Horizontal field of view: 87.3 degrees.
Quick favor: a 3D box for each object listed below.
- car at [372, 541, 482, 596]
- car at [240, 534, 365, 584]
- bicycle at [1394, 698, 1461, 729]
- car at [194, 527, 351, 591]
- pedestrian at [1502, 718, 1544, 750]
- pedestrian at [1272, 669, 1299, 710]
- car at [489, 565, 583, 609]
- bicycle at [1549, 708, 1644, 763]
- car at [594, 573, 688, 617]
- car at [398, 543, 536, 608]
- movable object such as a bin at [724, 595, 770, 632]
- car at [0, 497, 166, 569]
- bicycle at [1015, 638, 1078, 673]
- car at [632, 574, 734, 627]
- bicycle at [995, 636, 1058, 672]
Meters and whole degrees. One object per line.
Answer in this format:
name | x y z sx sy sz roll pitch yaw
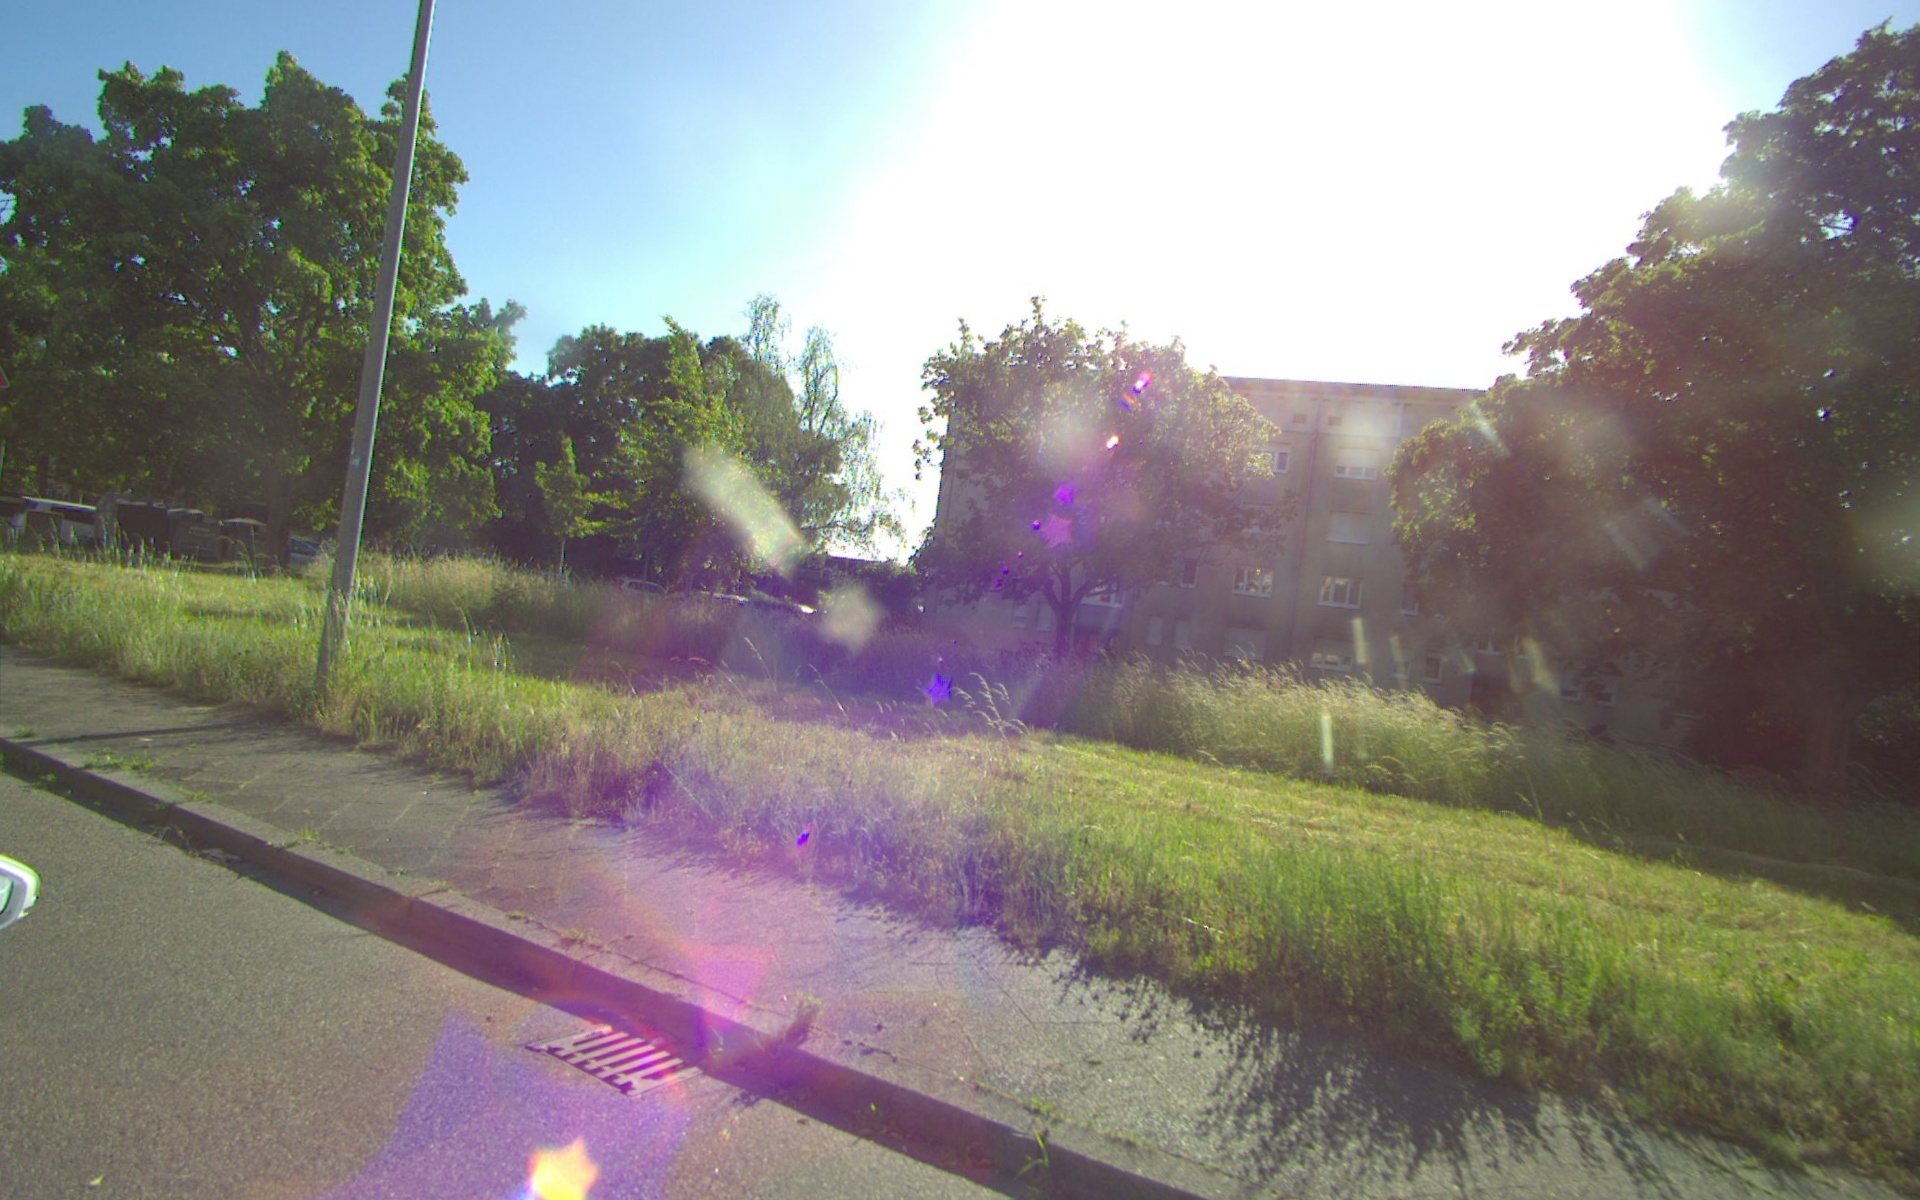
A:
car | -24.557 -1.442 46.468 1.971 1.873 3.866 7 -2 39
car | -27.397 -1.687 42.011 1.757 1.413 3.872 9 -1 32
bicycle | 18.165 4.406 39.151 2.263 0.822 0.694 7 -1 26
car | -24.561 -1.443 36.056 1.942 1.559 4.108 8 -1 35
pedestrian | 18.548 4.396 33.171 0.985 0.858 0.745 7 -1 18
pedestrian | 12.487 3.426 38.627 0.753 1.474 0.757 7 0 14
car | -21.461 -0.630 51.077 1.966 1.630 3.874 7 -2 31
bicycle | 23.348 4.959 36.958 2.704 1.544 0.782 7 0 20
car | -17.561 -0.232 55.543 1.969 1.828 4.455 7 -1 37
car | -20.550 -0.990 42.107 2.239 2.036 4.506 7 -1 37
movable object such as a bin | -10.159 0.656 48.114 1.508 1.526 1.393 7 -1 16
car | -27.724 -2.088 31.789 1.800 1.596 3.687 7 -2 36
bicycle | 3.902 2.512 45.475 2.646 1.219 0.941 8 -1 2
car | -14.029 0.065 51.174 2.133 2.036 4.506 7 -1 37
bicycle | 2.947 2.373 44.642 2.646 1.219 0.941 8 -1 2
